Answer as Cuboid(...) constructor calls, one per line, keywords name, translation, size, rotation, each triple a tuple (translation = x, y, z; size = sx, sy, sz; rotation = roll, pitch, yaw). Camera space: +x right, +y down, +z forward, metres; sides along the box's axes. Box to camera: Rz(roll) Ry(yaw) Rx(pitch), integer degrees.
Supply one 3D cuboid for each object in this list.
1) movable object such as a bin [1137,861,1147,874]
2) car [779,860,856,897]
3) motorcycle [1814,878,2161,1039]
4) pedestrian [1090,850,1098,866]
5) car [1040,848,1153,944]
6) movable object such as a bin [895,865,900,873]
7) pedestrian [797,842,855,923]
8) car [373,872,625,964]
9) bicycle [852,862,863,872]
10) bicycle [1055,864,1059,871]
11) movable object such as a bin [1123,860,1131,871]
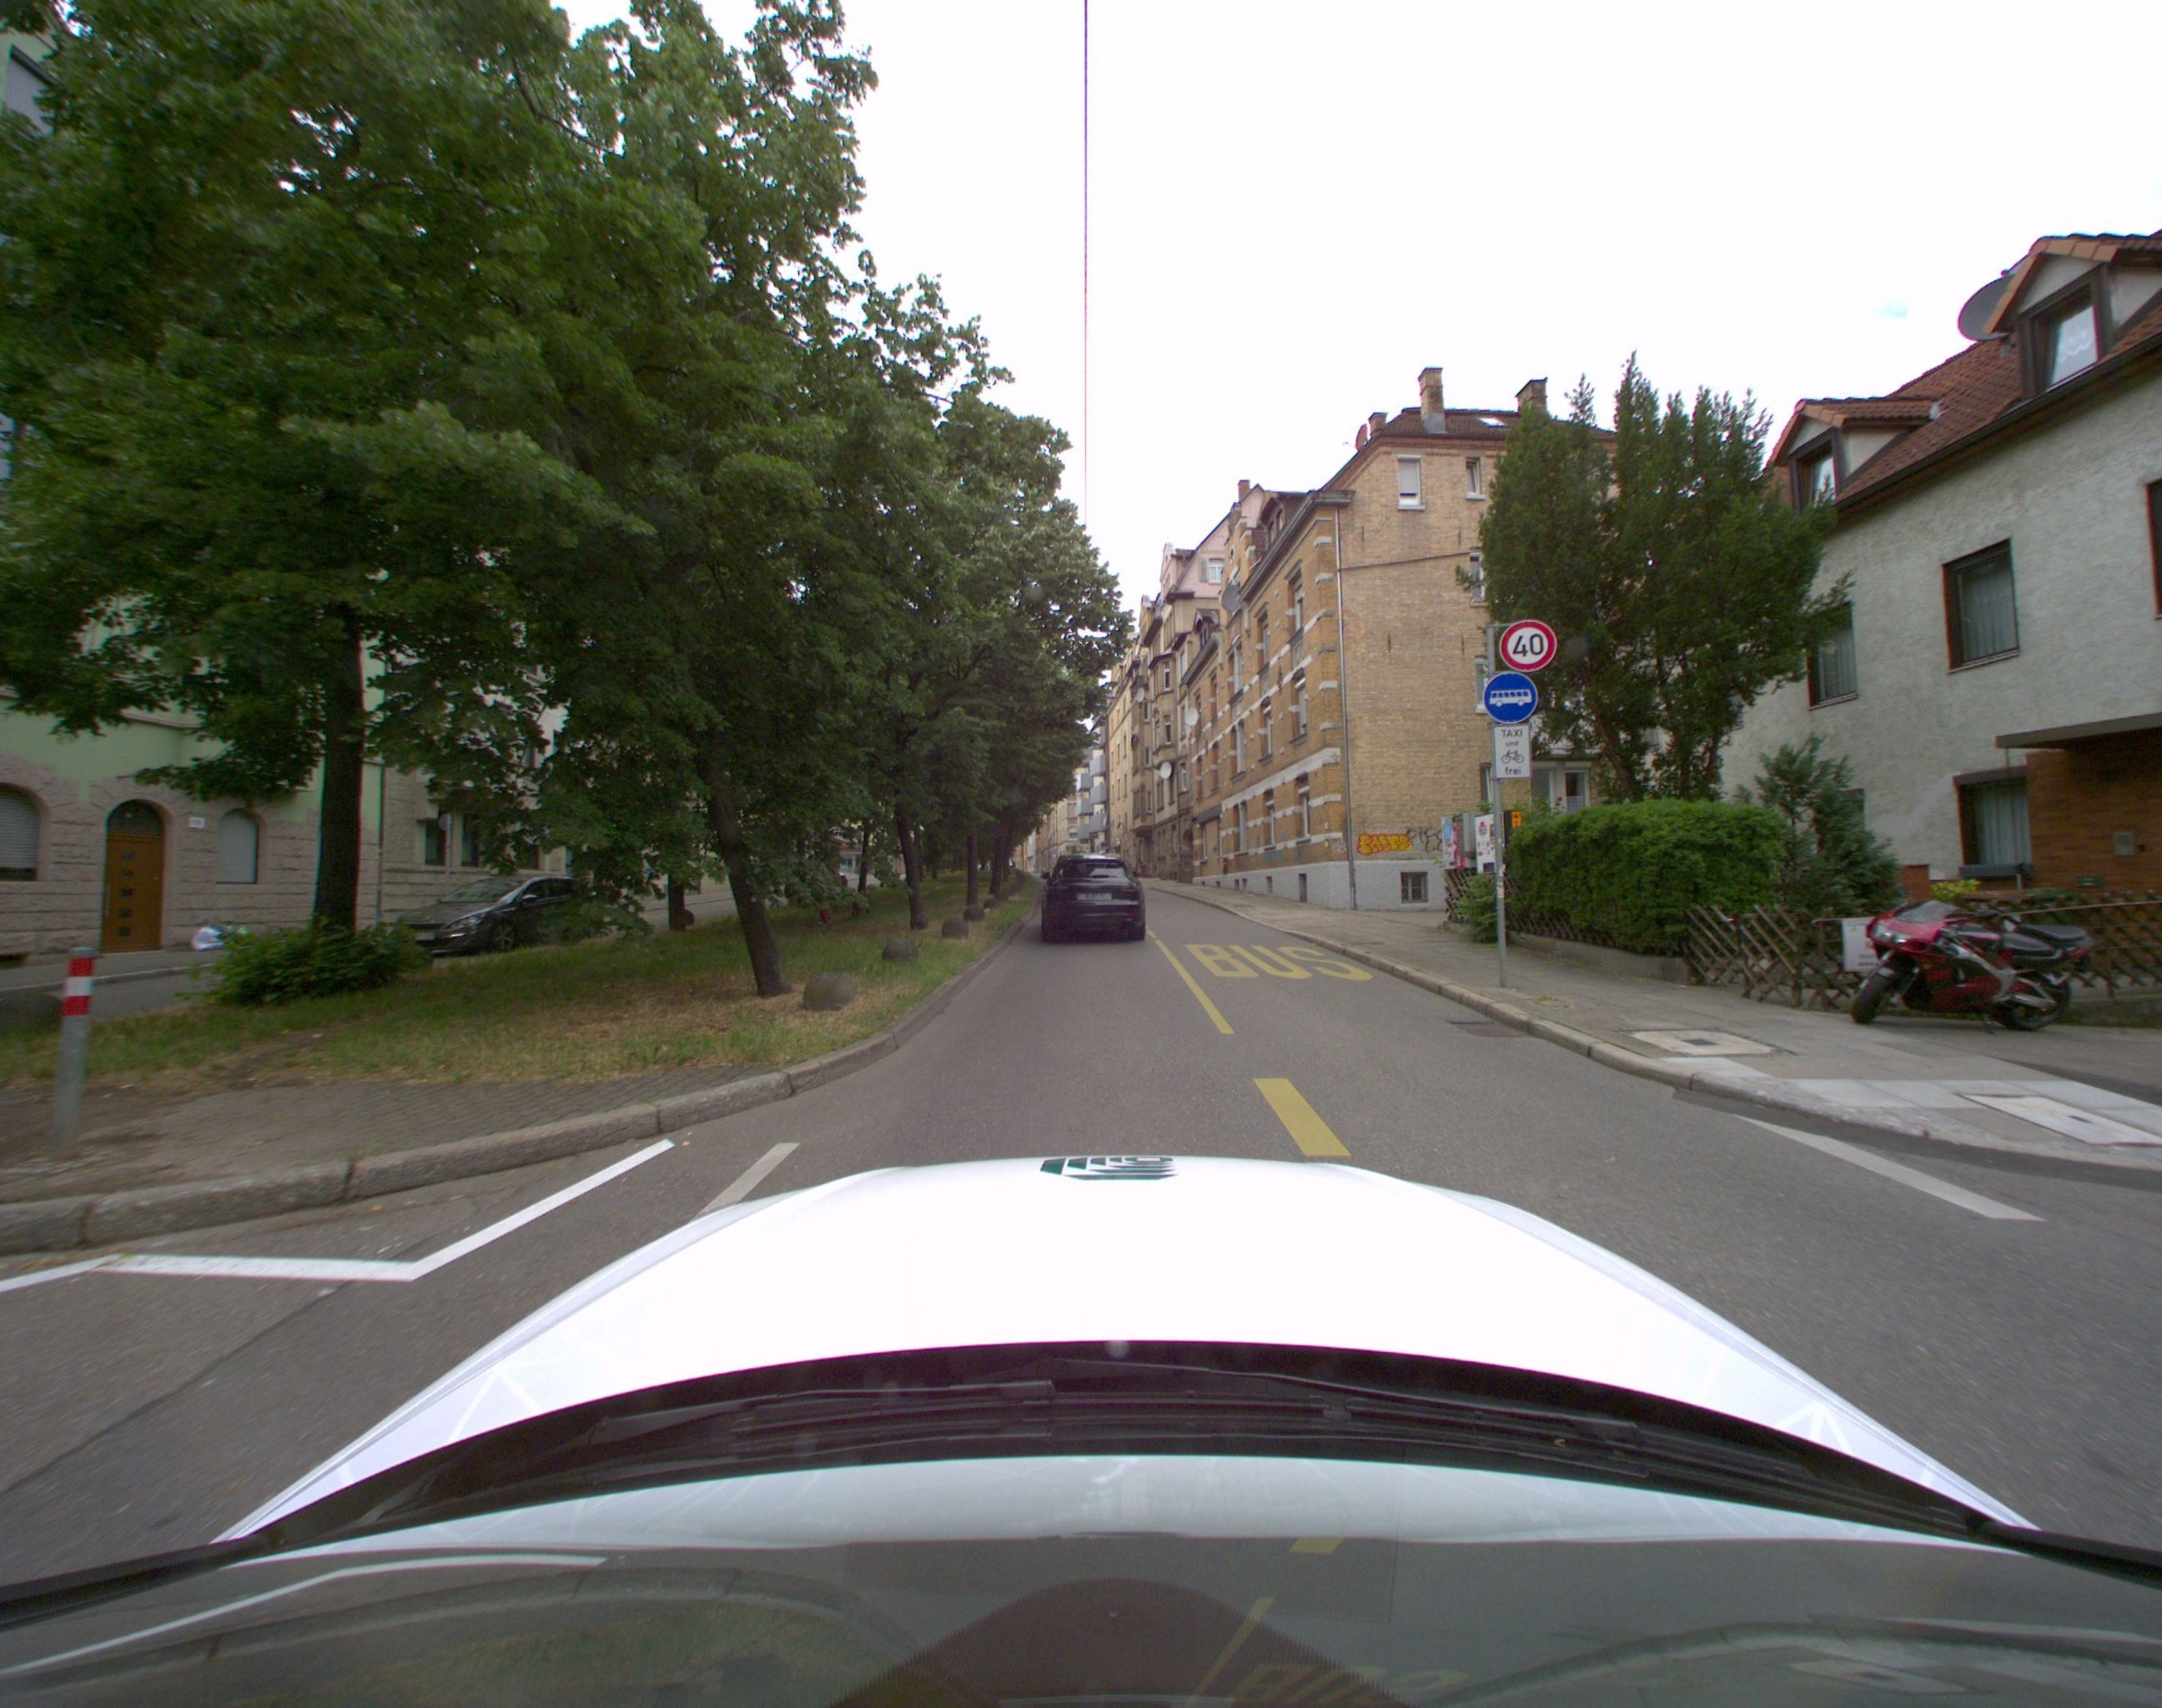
Cuboid(name="movable object such as a bin", translation=(4.371, 0.982, 58.300), size=(0.593, 0.904, 0.562), rotation=(0, -1, -5))
Cuboid(name="car", translation=(-11.819, 1.074, 36.865), size=(1.752, 1.382, 4.670), rotation=(-2, 1, 2))
Cuboid(name="motorcycle", translation=(7.897, 0.873, 7.174), size=(2.051, 1.268, 1.009), rotation=(1, 0, -4))
Cuboid(name="pedestrian", translation=(1.366, 0.409, 86.381), size=(0.750, 1.693, 0.857), rotation=(-1, -2, -5))
Cuboid(name="car", translation=(0.247, 0.737, 16.544), size=(1.988, 1.665, 3.998), rotation=(1, 1, -1))
Cuboid(name="movable object such as a bin", translation=(-26.458, 2.155, 117.281), size=(0.692, 1.060, 0.687), rotation=(0, -3, -11))
Cuboid(name="pedestrian", translation=(-5.716, 0.636, 18.337), size=(0.830, 1.712, 1.123), rotation=(-4, -2, 0))
Cuboid(name="car", translation=(-11.692, 1.193, 16.857), size=(1.702, 1.382, 4.670), rotation=(-2, 1, 2))
Cuboid(name="bicycle", translation=(-24.380, 1.410, 88.870), size=(0.766, 1.085, 2.018), rotation=(2, -3, -28))
Cuboid(name="bicycle", translation=(-3.789, 2.183, 128.711), size=(0.446, 1.037, 2.242), rotation=(-1, -2, -8))
Cuboid(name="movable object such as a bin", translation=(3.806, 0.935, 66.838), size=(0.593, 0.904, 0.502), rotation=(0, -4, -5))
